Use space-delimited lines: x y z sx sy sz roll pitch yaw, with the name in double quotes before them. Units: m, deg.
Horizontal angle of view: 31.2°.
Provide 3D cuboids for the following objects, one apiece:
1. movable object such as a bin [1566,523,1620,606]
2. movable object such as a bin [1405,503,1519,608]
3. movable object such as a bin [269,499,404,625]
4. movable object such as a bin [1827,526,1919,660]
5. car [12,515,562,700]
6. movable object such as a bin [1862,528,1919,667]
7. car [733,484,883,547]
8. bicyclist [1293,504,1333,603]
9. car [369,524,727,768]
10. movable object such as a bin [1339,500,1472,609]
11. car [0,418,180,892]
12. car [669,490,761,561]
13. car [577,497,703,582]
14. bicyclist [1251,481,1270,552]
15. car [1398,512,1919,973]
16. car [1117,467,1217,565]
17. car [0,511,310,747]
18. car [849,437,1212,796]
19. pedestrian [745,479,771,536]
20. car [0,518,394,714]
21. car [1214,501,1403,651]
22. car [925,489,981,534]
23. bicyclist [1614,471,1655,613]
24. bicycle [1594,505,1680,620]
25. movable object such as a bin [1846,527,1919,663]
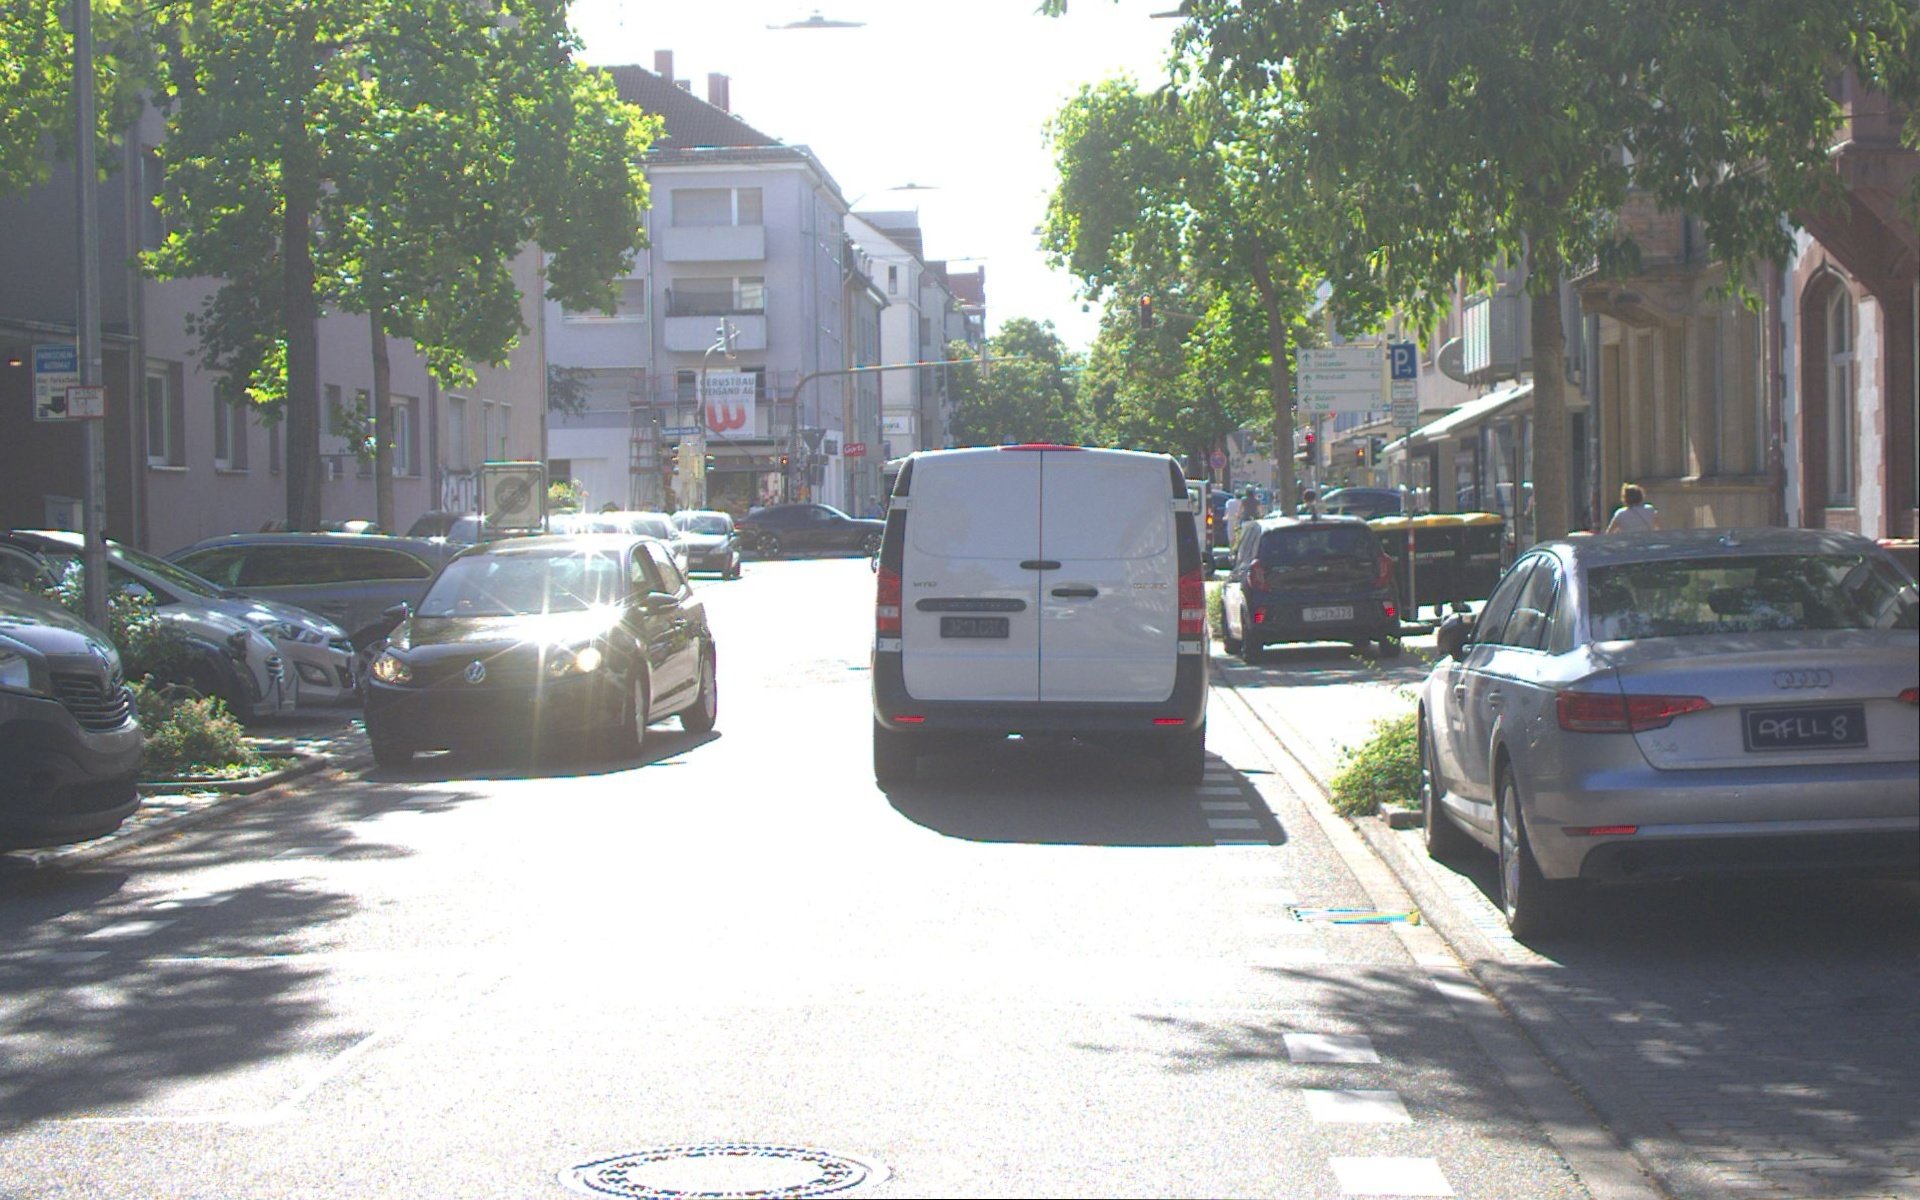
"movable object such as a bin" 8.076 -0.455 43.885 0.598 1.038 0.546 -1 2 1
"movable object such as a bin" 6.600 -0.597 45.213 1.040 1.343 1.106 1 3 41
"movable object such as a bin" -7.304 -0.457 40.302 1.231 1.445 1.075 0 2 10
"movable object such as a bin" 7.476 -0.061 28.070 0.638 1.065 0.632 -1 2 2
"car" -5.714 0.037 29.465 4.305 1.455 1.762 1 2 4
"movable object such as a bin" 7.458 -0.027 26.914 0.638 1.065 0.639 -1 2 2
"car" -4.072 -2.284 92.705 3.987 1.634 2.000 -1 2 -1
"bicyclist" 5.511 -0.725 53.657 0.439 1.503 0.497 6 1 2
"car" -2.691 0.241 23.295 1.763 1.433 3.960 -2 1 2
"movable object such as a bin" 5.705 -0.588 44.035 1.268 1.343 1.108 -3 2 -40
"car" -6.376 0.170 15.366 5.292 1.967 2.015 1 2 2
"car" -5.314 -1.651 75.046 1.653 1.474 4.000 1 2 1
"car" -5.969 -1.165 64.663 1.777 1.464 4.760 2 2 1
"bicyclist" 6.673 -1.862 76.465 0.355 1.570 0.482 1 1 -1
"car" 2.800 0.411 13.333 1.738 1.446 4.308 -1 2 1
"car" 4.189 -1.737 70.218 1.816 1.914 4.644 -1 2 1
"car" -6.439 0.165 23.580 3.598 1.546 1.684 0 1 3
"car" 0.298 -0.001 20.776 1.920 1.907 4.889 0 2 -2
"pedestrian" -5.921 -2.712 100.835 0.683 1.658 0.601 -1 2 1
"car" -6.545 0.098 26.786 3.987 1.458 1.813 0 2 -1
"car" 3.646 -0.291 36.453 1.635 1.470 3.580 -1 2 0
"car" -0.205 -2.814 108.615 1.618 1.393 3.731 0 2 2
"bicyclist" 7.059 -0.609 35.986 0.361 1.472 0.530 0 2 4
"bicycle" 7.077 -0.411 36.013 0.536 1.145 2.124 -3 1 3
"movable object such as a bin" 7.468 -0.042 27.483 0.638 1.065 0.521 -1 2 2
